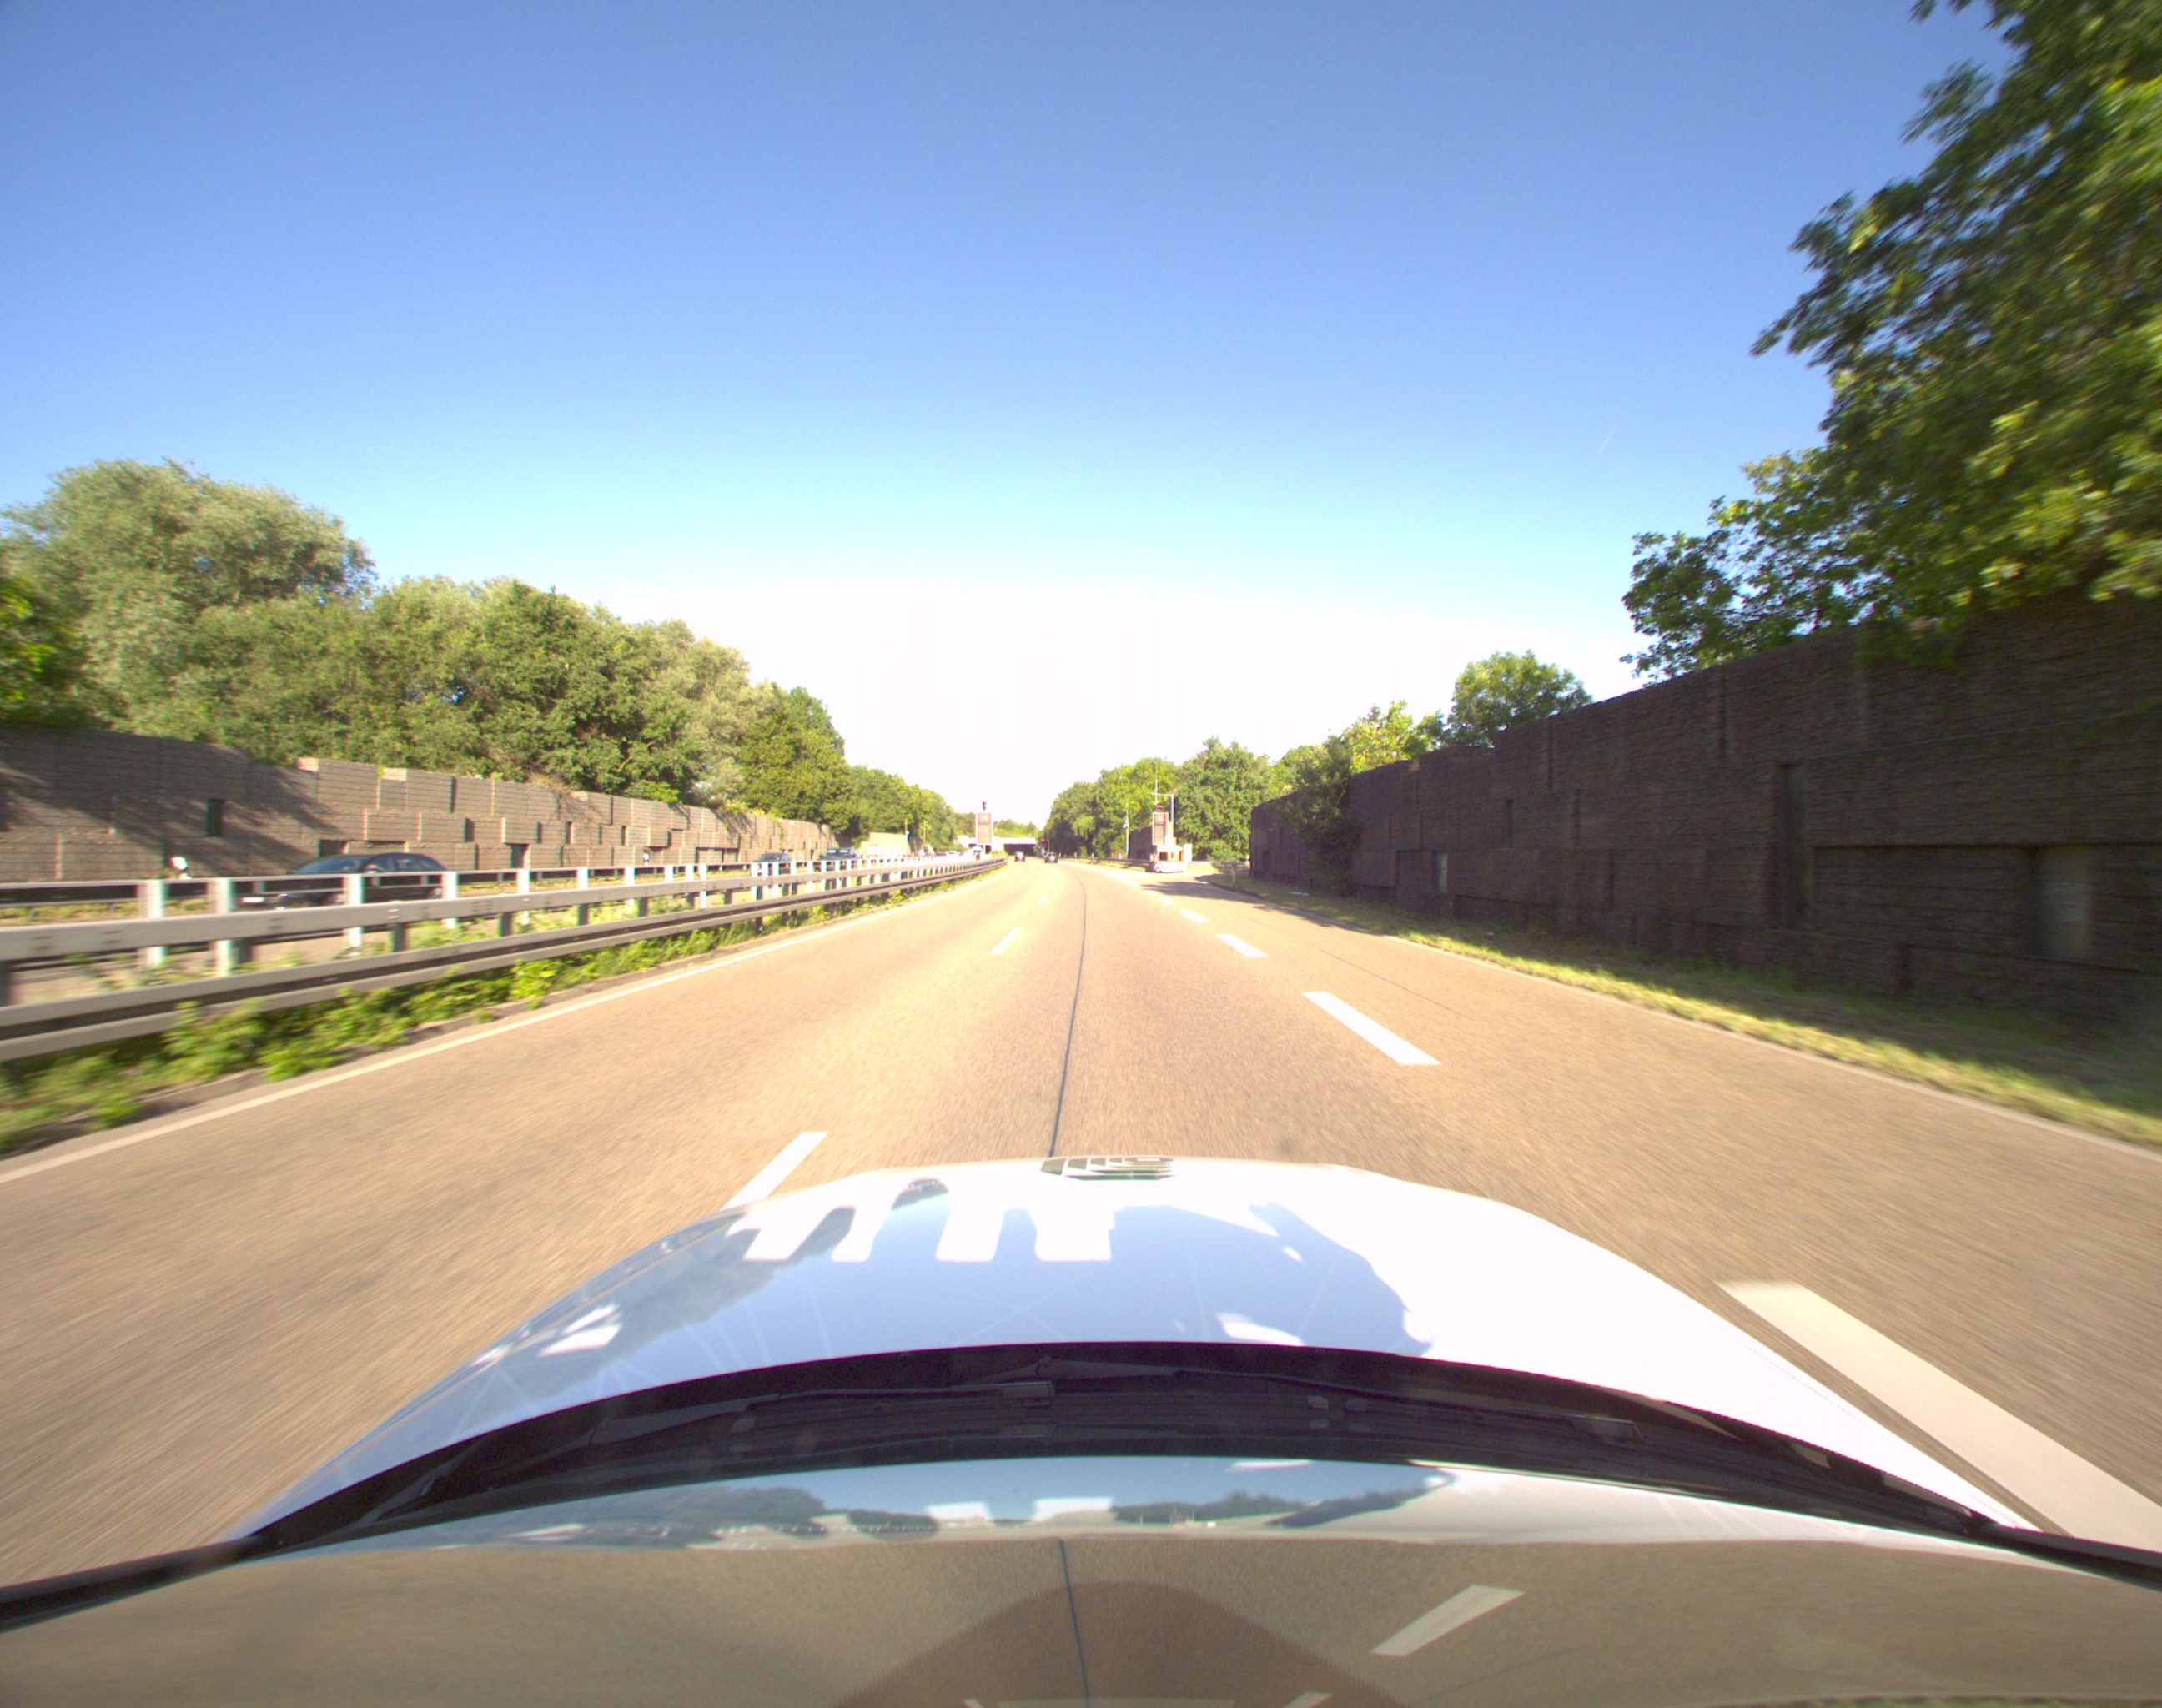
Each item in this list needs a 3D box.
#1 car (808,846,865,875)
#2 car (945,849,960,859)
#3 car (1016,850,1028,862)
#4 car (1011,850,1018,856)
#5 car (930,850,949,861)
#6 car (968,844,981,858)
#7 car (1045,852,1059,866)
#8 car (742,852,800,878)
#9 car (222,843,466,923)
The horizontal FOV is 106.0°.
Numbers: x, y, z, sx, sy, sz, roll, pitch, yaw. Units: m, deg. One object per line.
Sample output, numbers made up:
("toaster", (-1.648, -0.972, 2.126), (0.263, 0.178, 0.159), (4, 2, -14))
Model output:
("car", (-14.684, 0.342, 49.207), (1.891, 1.574, 4.807), (2, 1, 0))
("car", (-22.483, 0.012, 142.370), (1.989, 1.596, 4.616), (2, 1, -3))
("car", (-10.159, 0.311, 140.766), (1.990, 1.925, 3.994), (1, 1, -4))
("car", (-20.444, -0.354, 251.543), (1.992, 1.925, 3.990), (1, 1, -8))
("car", (-19.296, 0.183, 111.176), (1.989, 1.480, 4.530), (2, 1, -3))
("car", (-21.826, -0.701, 167.454), (2.116, 2.683, 6.581), (2, 1, -3))
("car", (-4.276, 0.722, 119.857), (1.990, 1.925, 3.994), (1, 1, -4))
("car", (-18.696, 0.634, 49.310), (1.891, 1.421, 4.134), (-1, 1, 0))
("car", (-16.564, 0.563, 18.672), (1.541, 1.574, 4.395), (2, 1, 0))
